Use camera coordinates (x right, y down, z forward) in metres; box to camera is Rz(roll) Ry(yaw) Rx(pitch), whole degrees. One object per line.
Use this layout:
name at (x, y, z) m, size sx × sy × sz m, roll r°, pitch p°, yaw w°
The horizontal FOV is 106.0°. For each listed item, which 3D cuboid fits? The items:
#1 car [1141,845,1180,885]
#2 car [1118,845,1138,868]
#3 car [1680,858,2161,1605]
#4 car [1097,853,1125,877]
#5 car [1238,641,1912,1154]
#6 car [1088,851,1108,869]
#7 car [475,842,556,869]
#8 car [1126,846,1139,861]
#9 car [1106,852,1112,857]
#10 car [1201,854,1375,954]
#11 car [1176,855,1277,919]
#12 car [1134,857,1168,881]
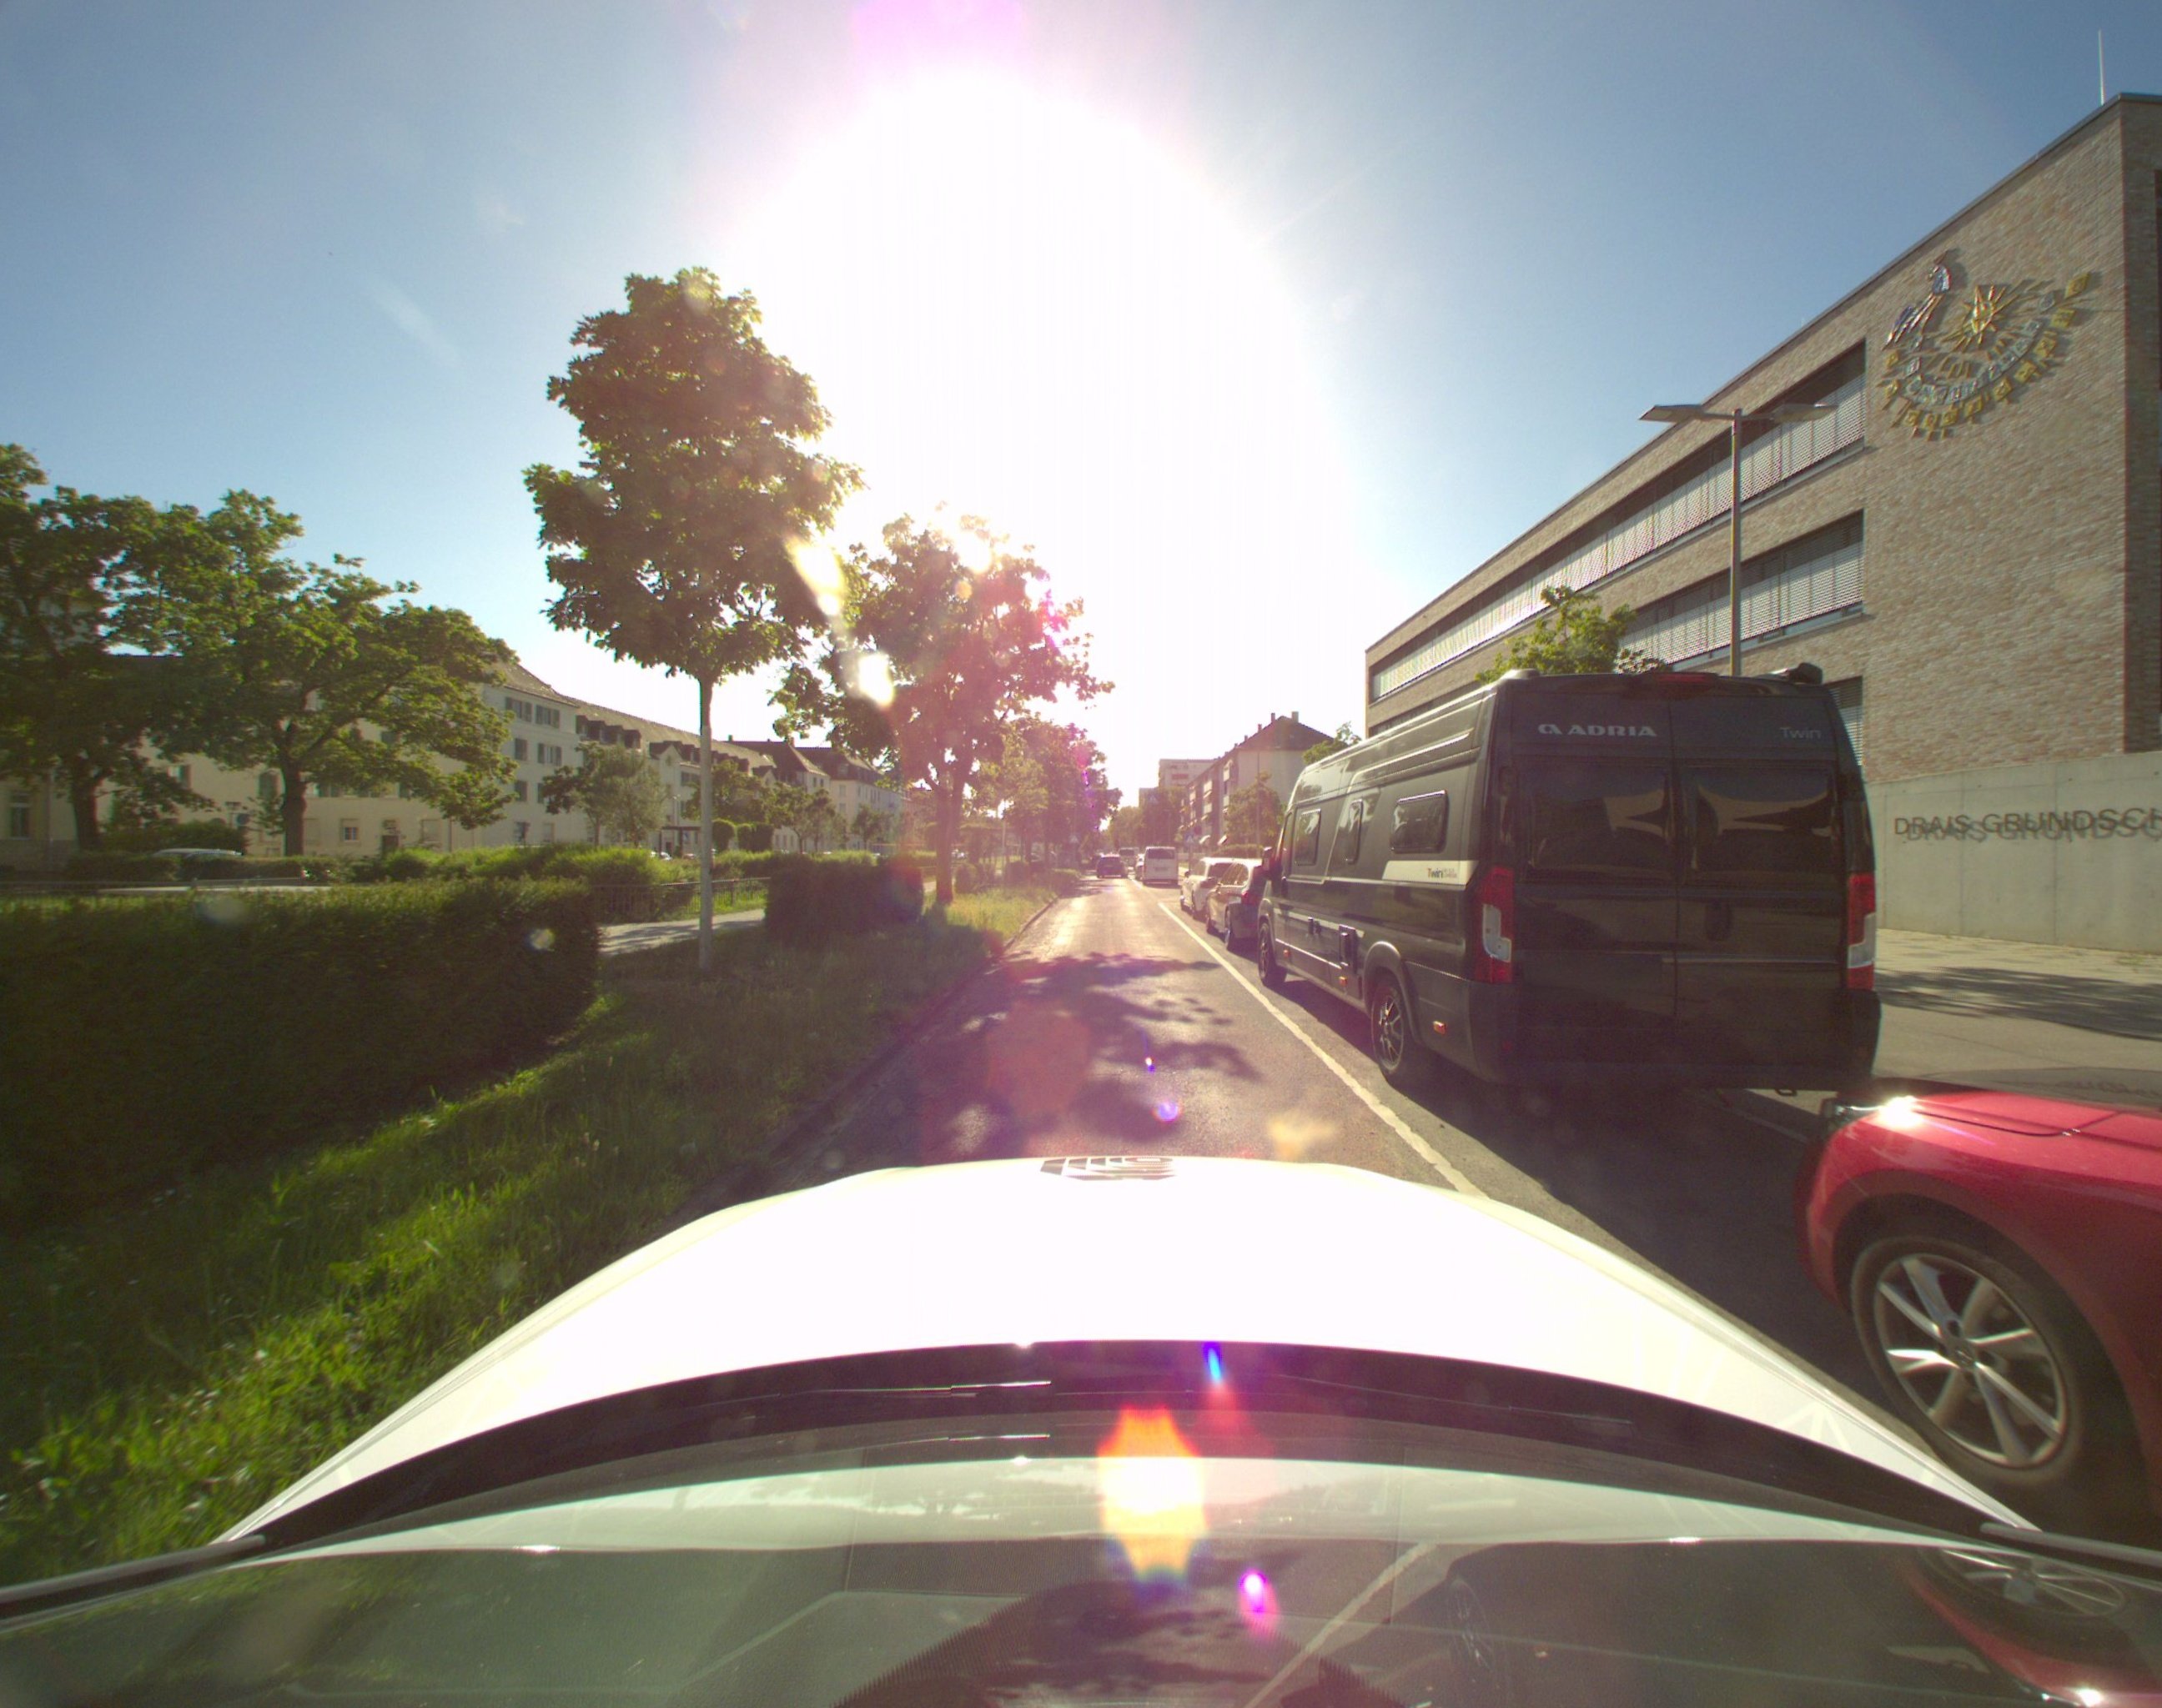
car at (3.917, 0.507, 40.667) m, size 1.786 × 1.855 × 4.417 m, roll 0°, pitch 0°, yaw 4°
car at (4.395, 0.240, 76.559) m, size 1.787 × 2.122 × 4.002 m, roll 0°, pitch 0°, yaw 2°
car at (2.995, 0.742, 0.931) m, size 1.788 × 1.455 × 3.950 m, roll 0°, pitch 0°, yaw 1°
car at (1.942, 0.677, 52.733) m, size 1.787 × 1.510 × 4.002 m, roll 0°, pitch 0°, yaw 2°
car at (3.062, 0.209, 7.273) m, size 2.108 × 2.515 × 6.531 m, roll 0°, pitch 0°, yaw 0°
car at (1.639, 0.553, 78.295) m, size 1.787 × 1.624 × 4.002 m, roll 1°, pitch 0°, yaw 2°
car at (-36.110, 0.081, 52.131) m, size 1.780 × 1.652 × 4.018 m, roll 0°, pitch 0°, yaw 17°
car at (8.779, -0.095, 138.814) m, size 1.986 × 2.430 × 4.502 m, roll 2°, pitch 0°, yaw 2°
car at (8.277, 0.124, 243.034) m, size 1.787 × 1.510 × 4.002 m, roll -1°, pitch 0°, yaw 2°
car at (3.298, 0.710, 13.972) m, size 1.986 × 1.420 × 4.638 m, roll 0°, pitch 0°, yaw 2°
car at (3.468, 0.727, 20.255) m, size 1.788 × 1.420 × 4.658 m, roll 0°, pitch 0°, yaw 1°
car at (4.022, 0.858, 47.137) m, size 1.758 × 1.319 × 4.170 m, roll 1°, pitch -1°, yaw 2°
